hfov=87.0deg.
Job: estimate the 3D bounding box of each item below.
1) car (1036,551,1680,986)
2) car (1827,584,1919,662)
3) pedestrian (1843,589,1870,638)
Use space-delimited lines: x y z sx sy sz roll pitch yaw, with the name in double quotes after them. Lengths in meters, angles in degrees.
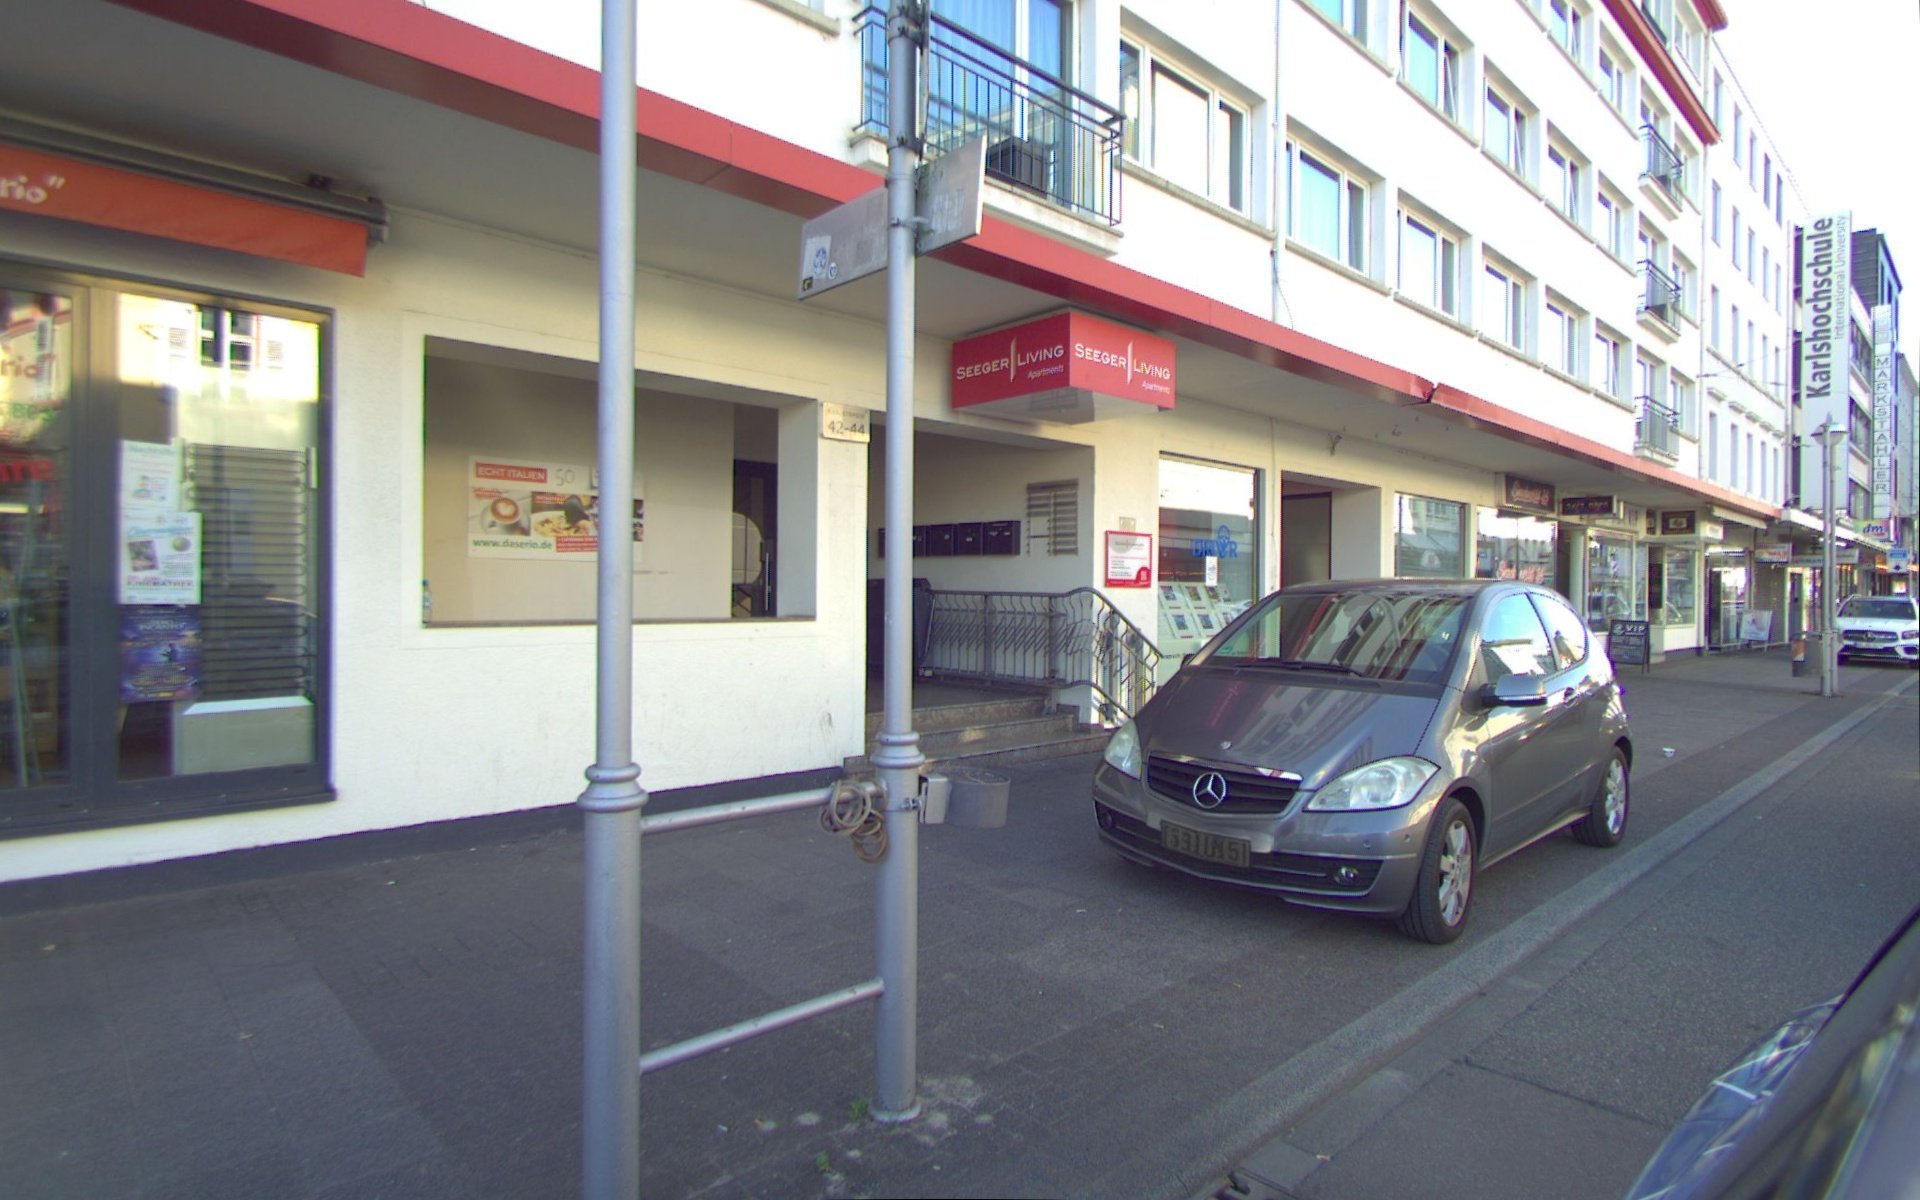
2.420 0.563 5.651 3.893 1.588 1.780 -1 2 -42 "car"
22.173 0.472 24.098 4.092 1.684 1.781 -1 2 -42 "car"
33.900 0.495 38.266 0.794 1.840 0.704 0 0 -44 "pedestrian"
